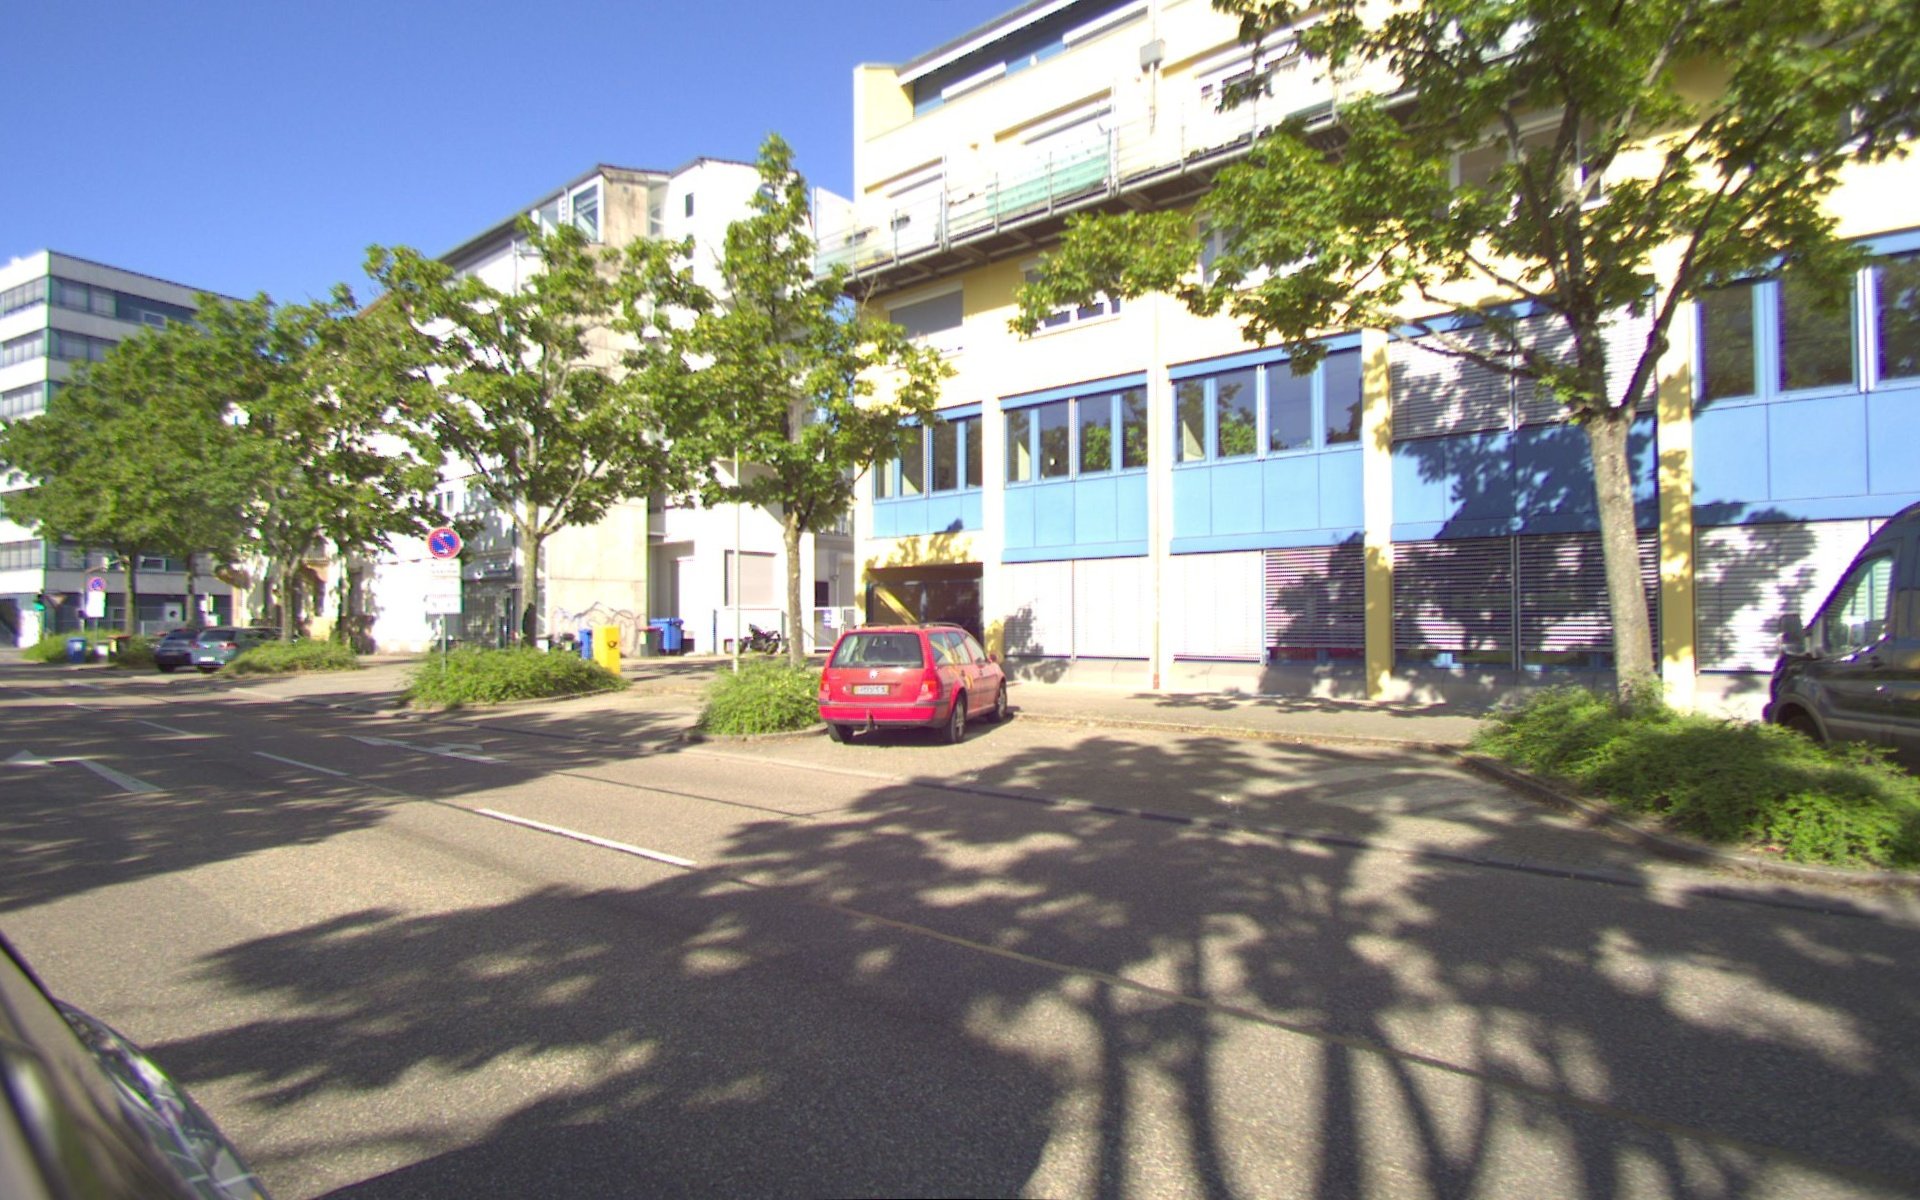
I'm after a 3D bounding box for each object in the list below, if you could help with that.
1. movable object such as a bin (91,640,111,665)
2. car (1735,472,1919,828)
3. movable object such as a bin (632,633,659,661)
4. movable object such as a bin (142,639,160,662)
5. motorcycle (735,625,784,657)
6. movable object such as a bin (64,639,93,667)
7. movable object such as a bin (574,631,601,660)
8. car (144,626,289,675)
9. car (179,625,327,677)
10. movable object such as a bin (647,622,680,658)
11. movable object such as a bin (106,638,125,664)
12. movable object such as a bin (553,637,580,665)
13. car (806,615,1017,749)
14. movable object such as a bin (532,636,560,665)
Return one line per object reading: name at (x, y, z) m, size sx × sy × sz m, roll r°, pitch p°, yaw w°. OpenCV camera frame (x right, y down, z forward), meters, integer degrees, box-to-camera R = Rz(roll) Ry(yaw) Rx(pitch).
movable object such as a bin at (-34.867, 2.138, 41.076) m, size 0.469 × 0.967 × 0.544 m, roll -1°, pitch 0°, yaw -25°
car at (7.585, 0.319, 6.408) m, size 2.165 × 2.455 × 5.480 m, roll -1°, pitch -1°, yaw 14°
movable object such as a bin at (-11.183, 1.663, 35.952) m, size 0.689 × 0.980 × 0.614 m, roll -1°, pitch -2°, yaw 36°
movable object such as a bin at (-34.670, 2.150, 43.360) m, size 0.469 × 0.951 × 0.544 m, roll 1°, pitch -2°, yaw -25°
motorcycle at (-7.350, 1.482, 37.171) m, size 0.526 × 1.143 × 1.894 m, roll -2°, pitch -2°, yaw 38°
movable object such as a bin at (-35.494, 2.122, 40.760) m, size 0.664 × 1.082 × 0.805 m, roll 1°, pitch -2°, yaw -25°
movable object such as a bin at (-12.649, 1.536, 34.365) m, size 0.574 × 0.980 × 0.614 m, roll -1°, pitch -2°, yaw 35°
car at (-25.305, 1.687, 34.620) m, size 1.789 × 1.475 × 3.993 m, roll -1°, pitch 0°, yaw 6°
car at (-22.881, 1.617, 32.946) m, size 1.789 × 1.475 × 3.993 m, roll -1°, pitch 0°, yaw 6°
movable object such as a bin at (-10.727, 1.451, 36.619) m, size 1.118 × 1.289 × 0.614 m, roll -1°, pitch -2°, yaw 36°
movable object such as a bin at (-35.074, 2.119, 42.017) m, size 0.469 × 1.048 × 0.544 m, roll -1°, pitch 0°, yaw -25°
movable object such as a bin at (-13.139, 1.695, 33.763) m, size 0.574 × 0.935 × 0.614 m, roll -1°, pitch -2°, yaw 35°
car at (-0.464, 0.968, 13.601) m, size 1.752 × 1.487 × 4.217 m, roll -1°, pitch -1°, yaw 13°
movable object such as a bin at (-13.559, 1.660, 33.155) m, size 0.574 × 0.935 × 0.614 m, roll -1°, pitch -2°, yaw 35°
